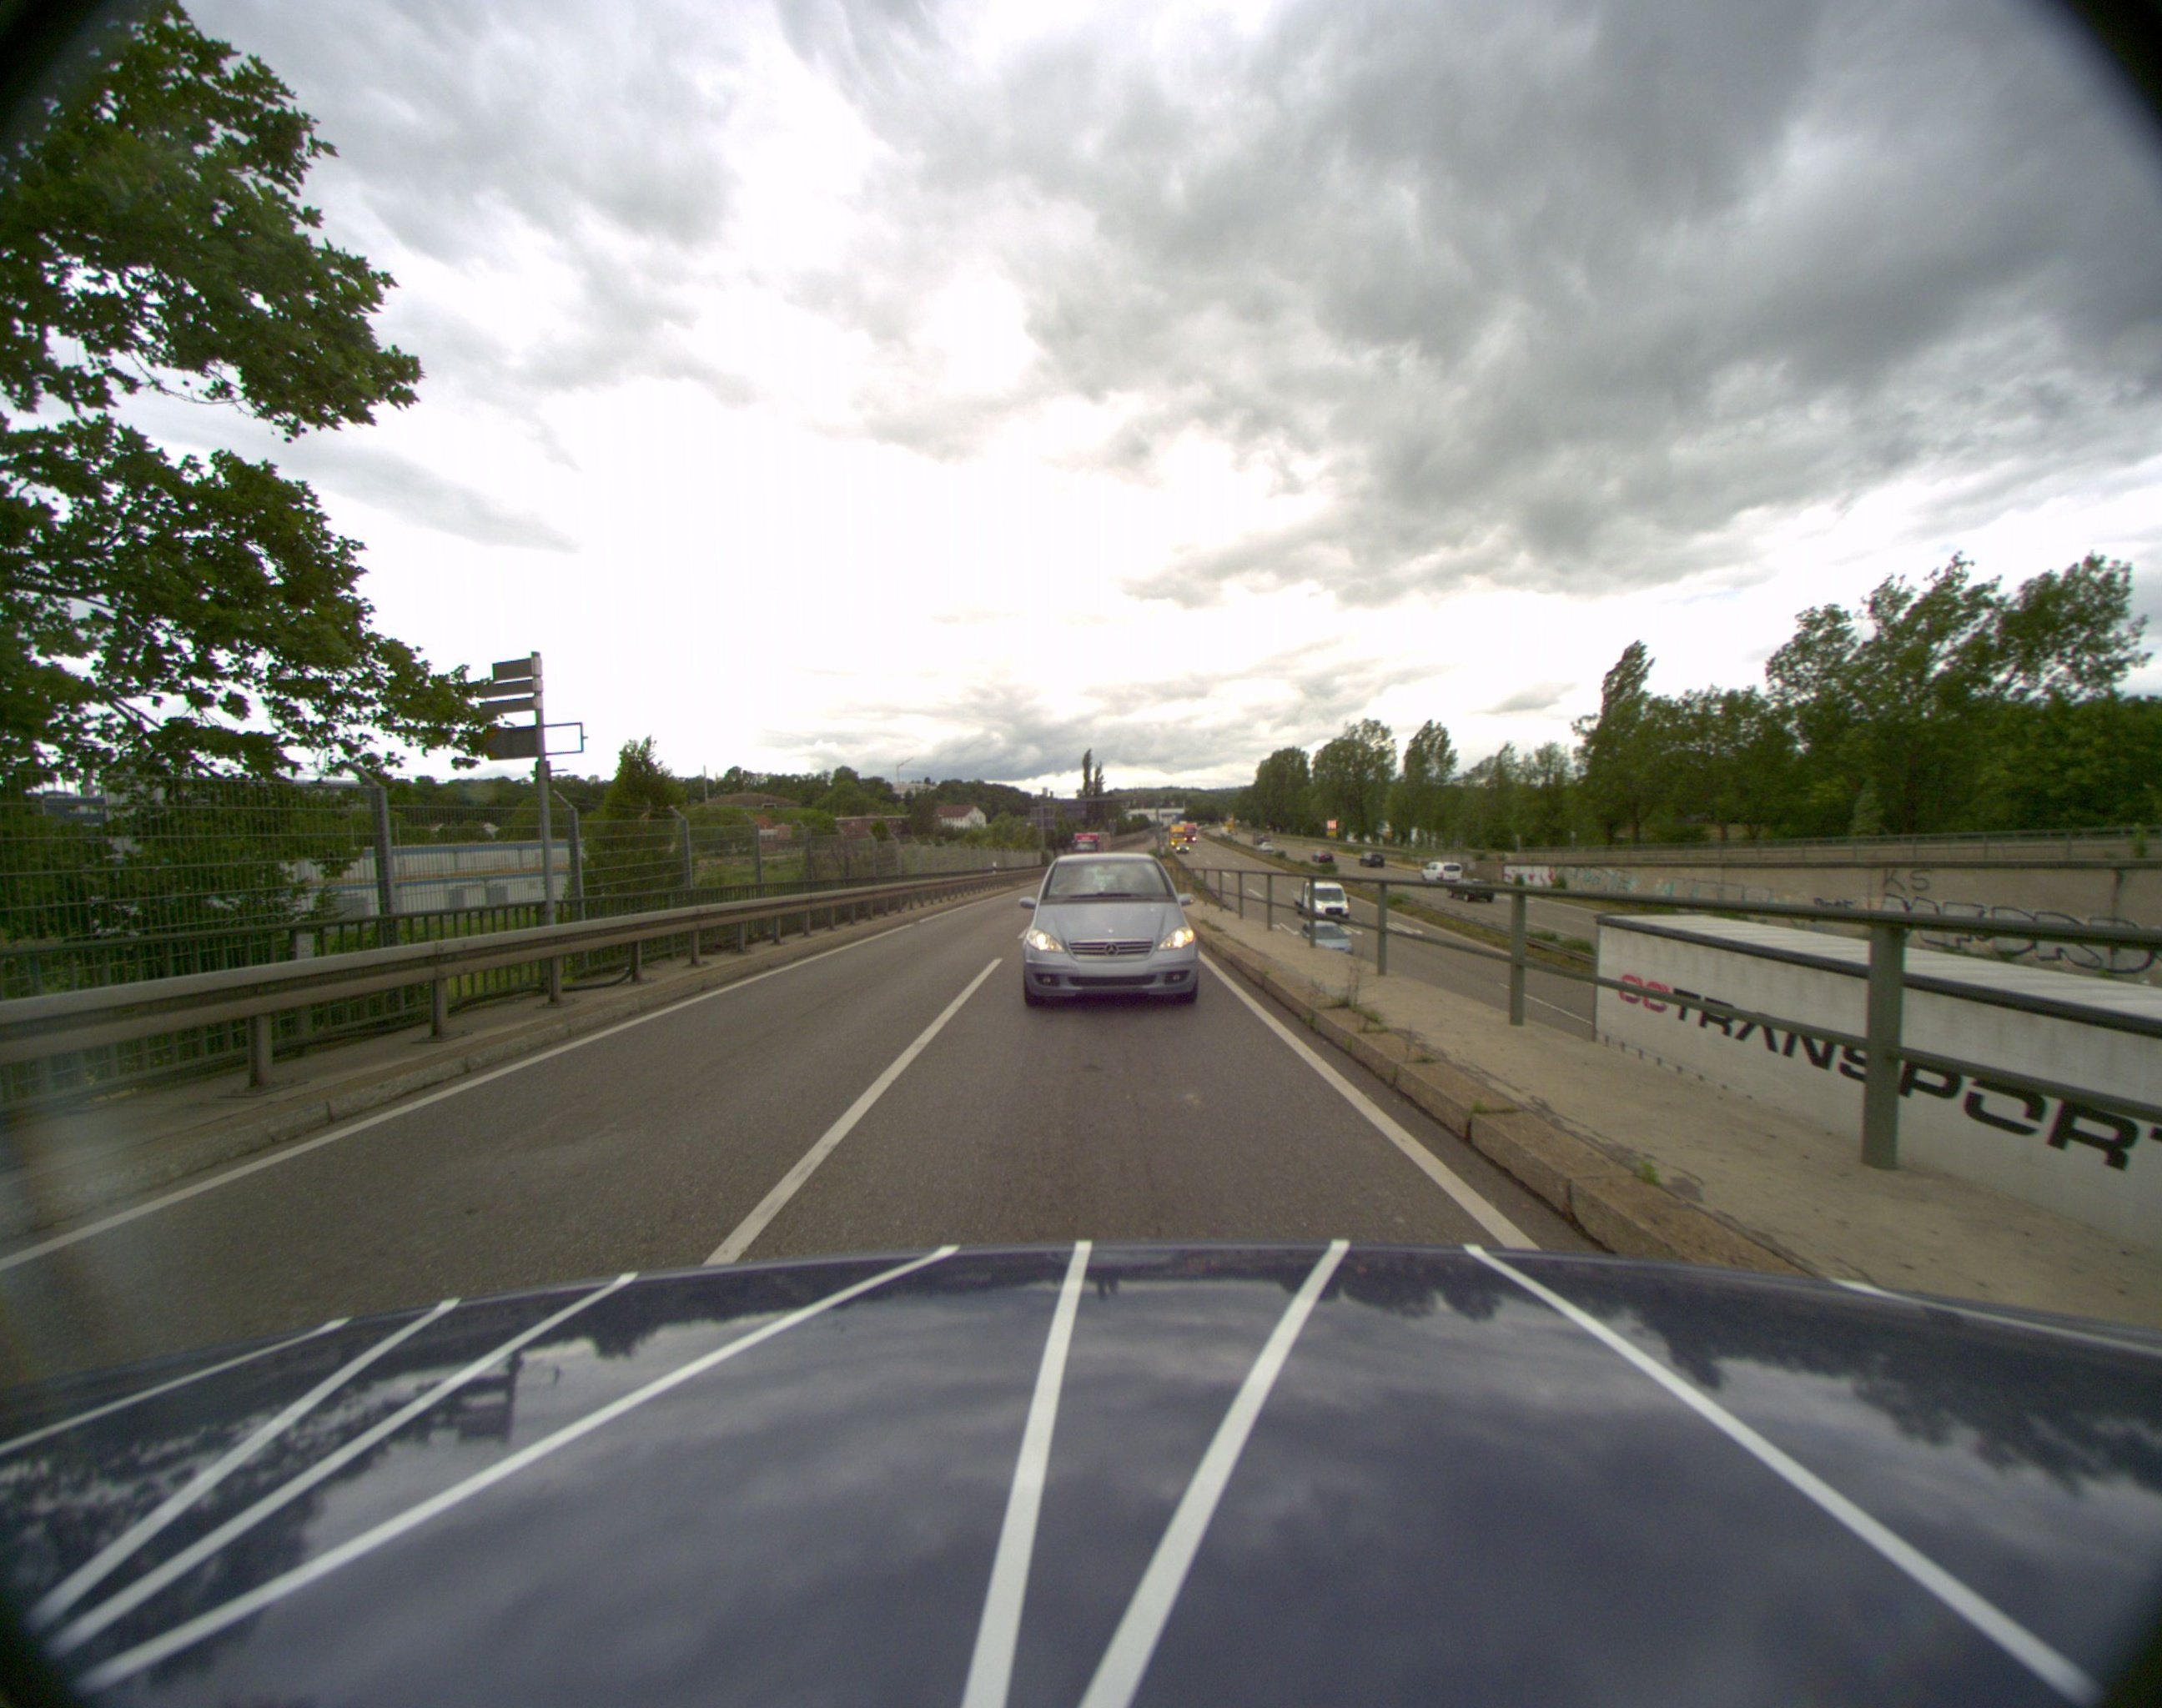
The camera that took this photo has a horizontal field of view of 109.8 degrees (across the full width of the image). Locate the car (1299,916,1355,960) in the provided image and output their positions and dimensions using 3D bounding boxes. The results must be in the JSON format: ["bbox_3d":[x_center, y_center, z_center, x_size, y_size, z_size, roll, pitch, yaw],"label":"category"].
[{"bbox_3d":[11.076,3.758,34.442,1.512,1.365,3.536,0,4,3],"label":"car"}]

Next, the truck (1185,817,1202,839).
[{"bbox_3d":[24.977,-5.934,169.470,2.754,4.713,9.916,1,3,4],"label":"truck"}]

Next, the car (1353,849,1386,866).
[{"bbox_3d":[33.257,0.382,87.680,1.998,1.617,4.576,1,3,1],"label":"car"}]

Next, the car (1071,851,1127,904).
[{"bbox_3d":[0.631,0.808,27.310,1.830,1.701,4.000,-2,-1,1],"label":"car"}]

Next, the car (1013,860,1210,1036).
[{"bbox_3d":[0.306,0.857,8.778,1.743,1.534,3.992,0,0,1],"label":"car"}]

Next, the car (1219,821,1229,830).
[{"bbox_3d":[43.281,-8.572,229.964,2.172,2.580,6.099,0,3,1],"label":"car"}]

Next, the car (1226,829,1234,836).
[{"bbox_3d":[35.415,-5.149,180.653,1.717,1.446,3.650,0,3,6],"label":"car"}]

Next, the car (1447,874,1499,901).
[{"bbox_3d":[28.171,2.388,54.734,1.669,1.612,3.998,0,3,1],"label":"car"}]

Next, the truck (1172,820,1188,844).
[{"bbox_3d":[18.253,-4.152,140.718,2.415,4.100,8.168,0,4,4],"label":"truck"}]

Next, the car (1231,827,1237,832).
[{"bbox_3d":[47.997,-7.661,238.371,1.662,1.643,3.772,0,3,4],"label":"car"}]

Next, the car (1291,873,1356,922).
[{"bbox_3d":[14.701,2.570,46.511,2.104,2.231,6.497,0,4,3],"label":"car"}]

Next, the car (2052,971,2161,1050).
[{"bbox_3d":[29.880,4.427,20.546,1.715,1.661,4.252,0,3,1],"label":"car"}]

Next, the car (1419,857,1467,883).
[{"bbox_3d":[32.177,1.399,67.714,1.952,1.897,4.907,0,3,1],"label":"car"}]

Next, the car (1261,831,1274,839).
[{"bbox_3d":[39.898,-4.114,162.495,1.864,1.643,4.632,0,3,4],"label":"car"}]

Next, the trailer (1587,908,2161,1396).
[{"bbox_3d":[13.437,3.721,11.141,3.010,4.088,13.982,0,3,2],"label":"trailer"}]

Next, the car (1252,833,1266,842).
[{"bbox_3d":[35.034,-3.242,149.866,1.886,1.709,4.180,0,3,3],"label":"car"}]

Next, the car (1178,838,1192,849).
[{"bbox_3d":[16.429,-1.664,120.090,1.810,1.658,3.999,0,3,4],"label":"car"}]

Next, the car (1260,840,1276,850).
[{"bbox_3d":[30.299,-1.432,122.931,1.778,1.486,3.896,1,3,3],"label":"car"}]

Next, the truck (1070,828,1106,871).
[{"bbox_3d":[0.877,-0.579,79.372,3.101,3.989,8.488,-1,3,5],"label":"truck"}]

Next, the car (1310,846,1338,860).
[{"bbox_3d":[30.645,-0.154,95.890,1.998,1.617,4.576,1,3,1],"label":"car"}]
